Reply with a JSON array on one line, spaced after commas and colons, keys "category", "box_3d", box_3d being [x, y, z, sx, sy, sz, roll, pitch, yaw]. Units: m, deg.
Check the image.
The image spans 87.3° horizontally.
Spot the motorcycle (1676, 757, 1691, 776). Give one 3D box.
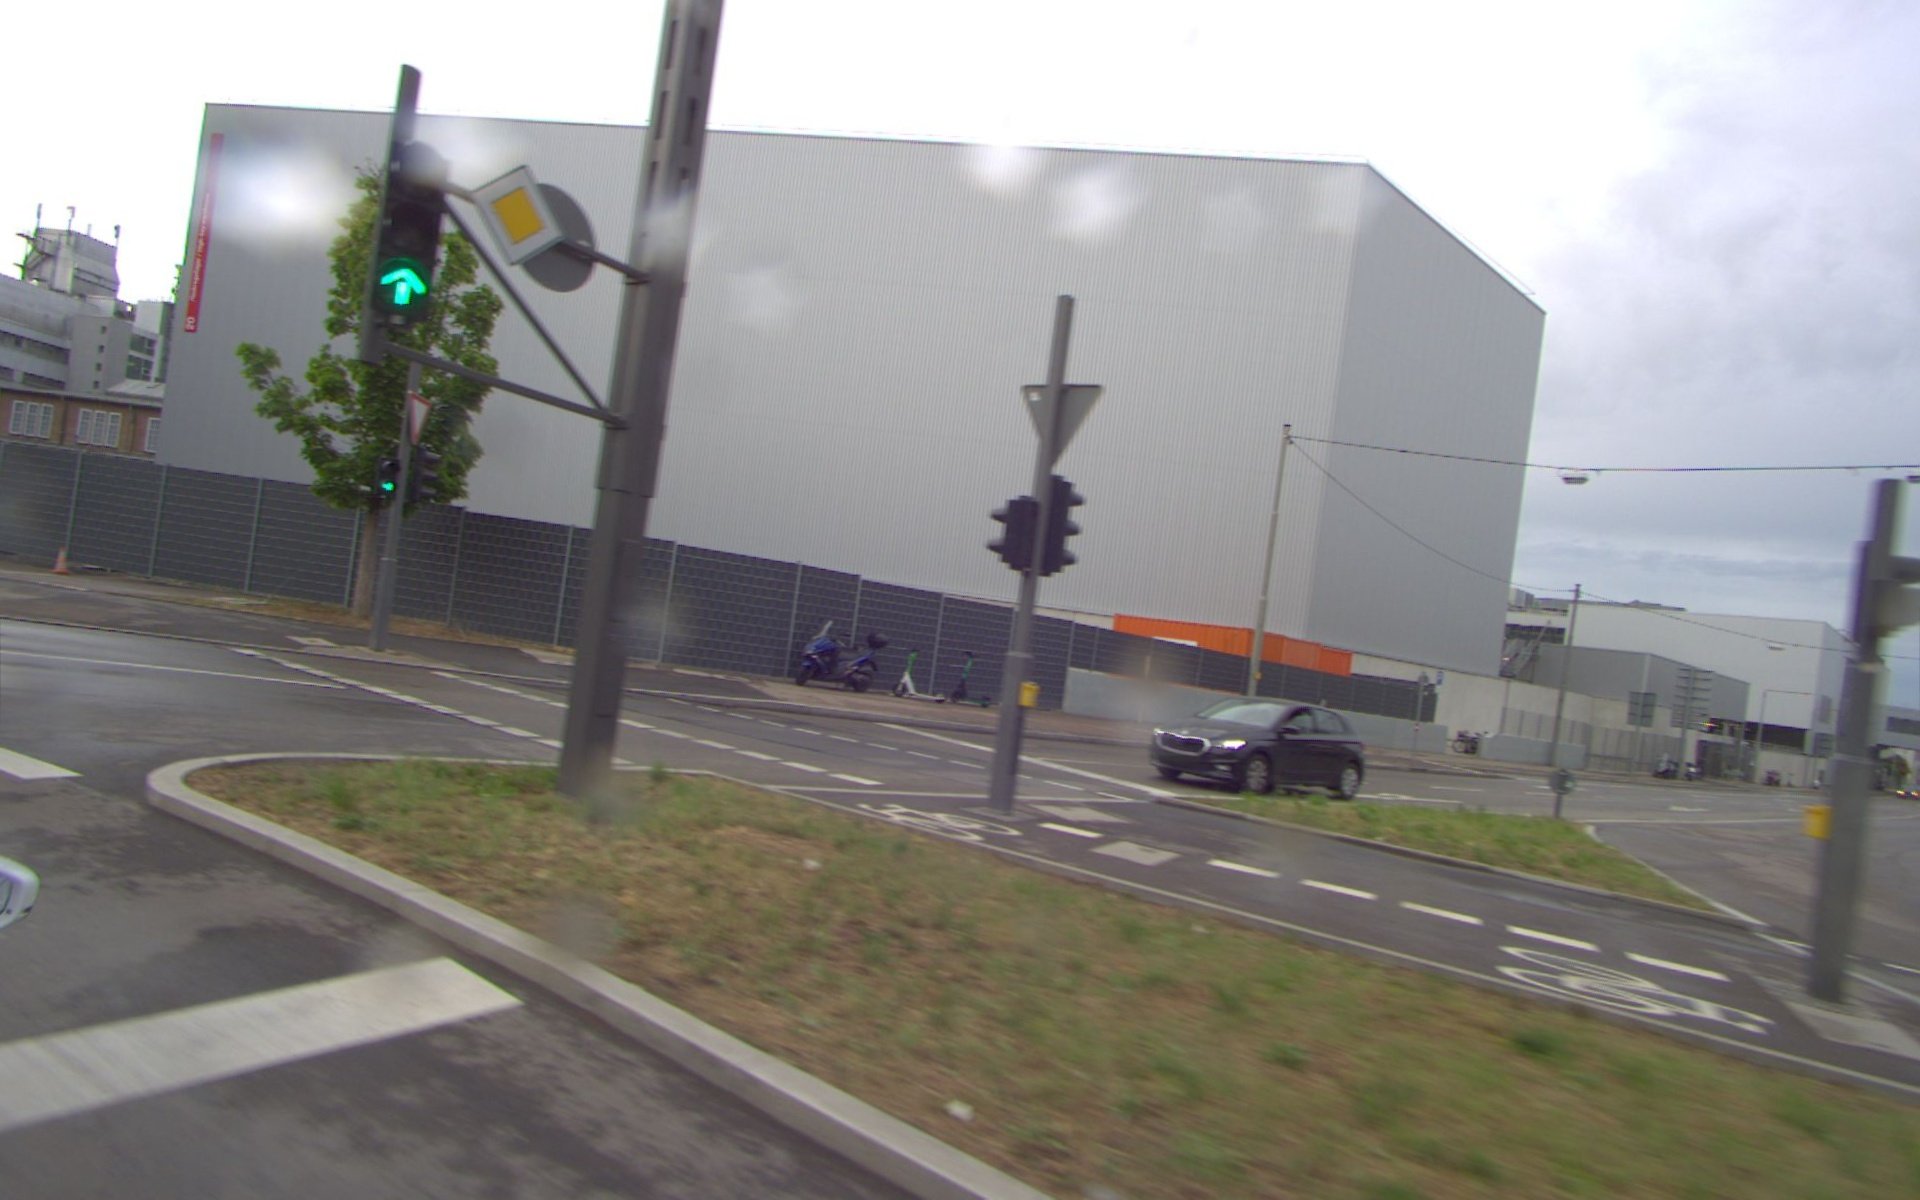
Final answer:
[{"category": "motorcycle", "box_3d": [49.632, 11.437, 69.025, 0.556, 1.144, 1.925, 7, -2, 31]}]

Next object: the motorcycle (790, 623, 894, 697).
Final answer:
[{"category": "motorcycle", "box_3d": [-2.518, 1.306, 21.647, 2.088, 1.325, 0.648, 11, -3, -41]}]

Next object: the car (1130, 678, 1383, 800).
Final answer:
[{"category": "car", "box_3d": [4.709, 2.203, 15.716, 3.971, 1.441, 1.703, 10, -3, -38]}]

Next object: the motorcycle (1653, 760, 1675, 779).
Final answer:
[{"category": "motorcycle", "box_3d": [45.399, 10.925, 64.845, 1.913, 1.087, 0.560, 10, -2, -38]}]

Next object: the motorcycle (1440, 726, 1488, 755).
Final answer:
[{"category": "motorcycle", "box_3d": [24.446, 6.829, 48.843, 1.902, 1.087, 0.624, 6, -2, 44]}]

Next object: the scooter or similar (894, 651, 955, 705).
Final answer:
[{"category": "scooter or similar", "box_3d": [-0.819, 1.794, 23.137, 1.249, 1.040, 0.385, 9, -2, -8]}]

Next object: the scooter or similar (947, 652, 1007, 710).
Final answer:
[{"category": "scooter or similar", "box_3d": [0.420, 1.964, 24.305, 1.256, 1.213, 0.422, 10, -2, -27]}]

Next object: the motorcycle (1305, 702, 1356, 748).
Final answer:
[{"category": "motorcycle", "box_3d": [13.127, 4.441, 35.608, 2.088, 1.392, 0.648, 11, -3, -41]}]
